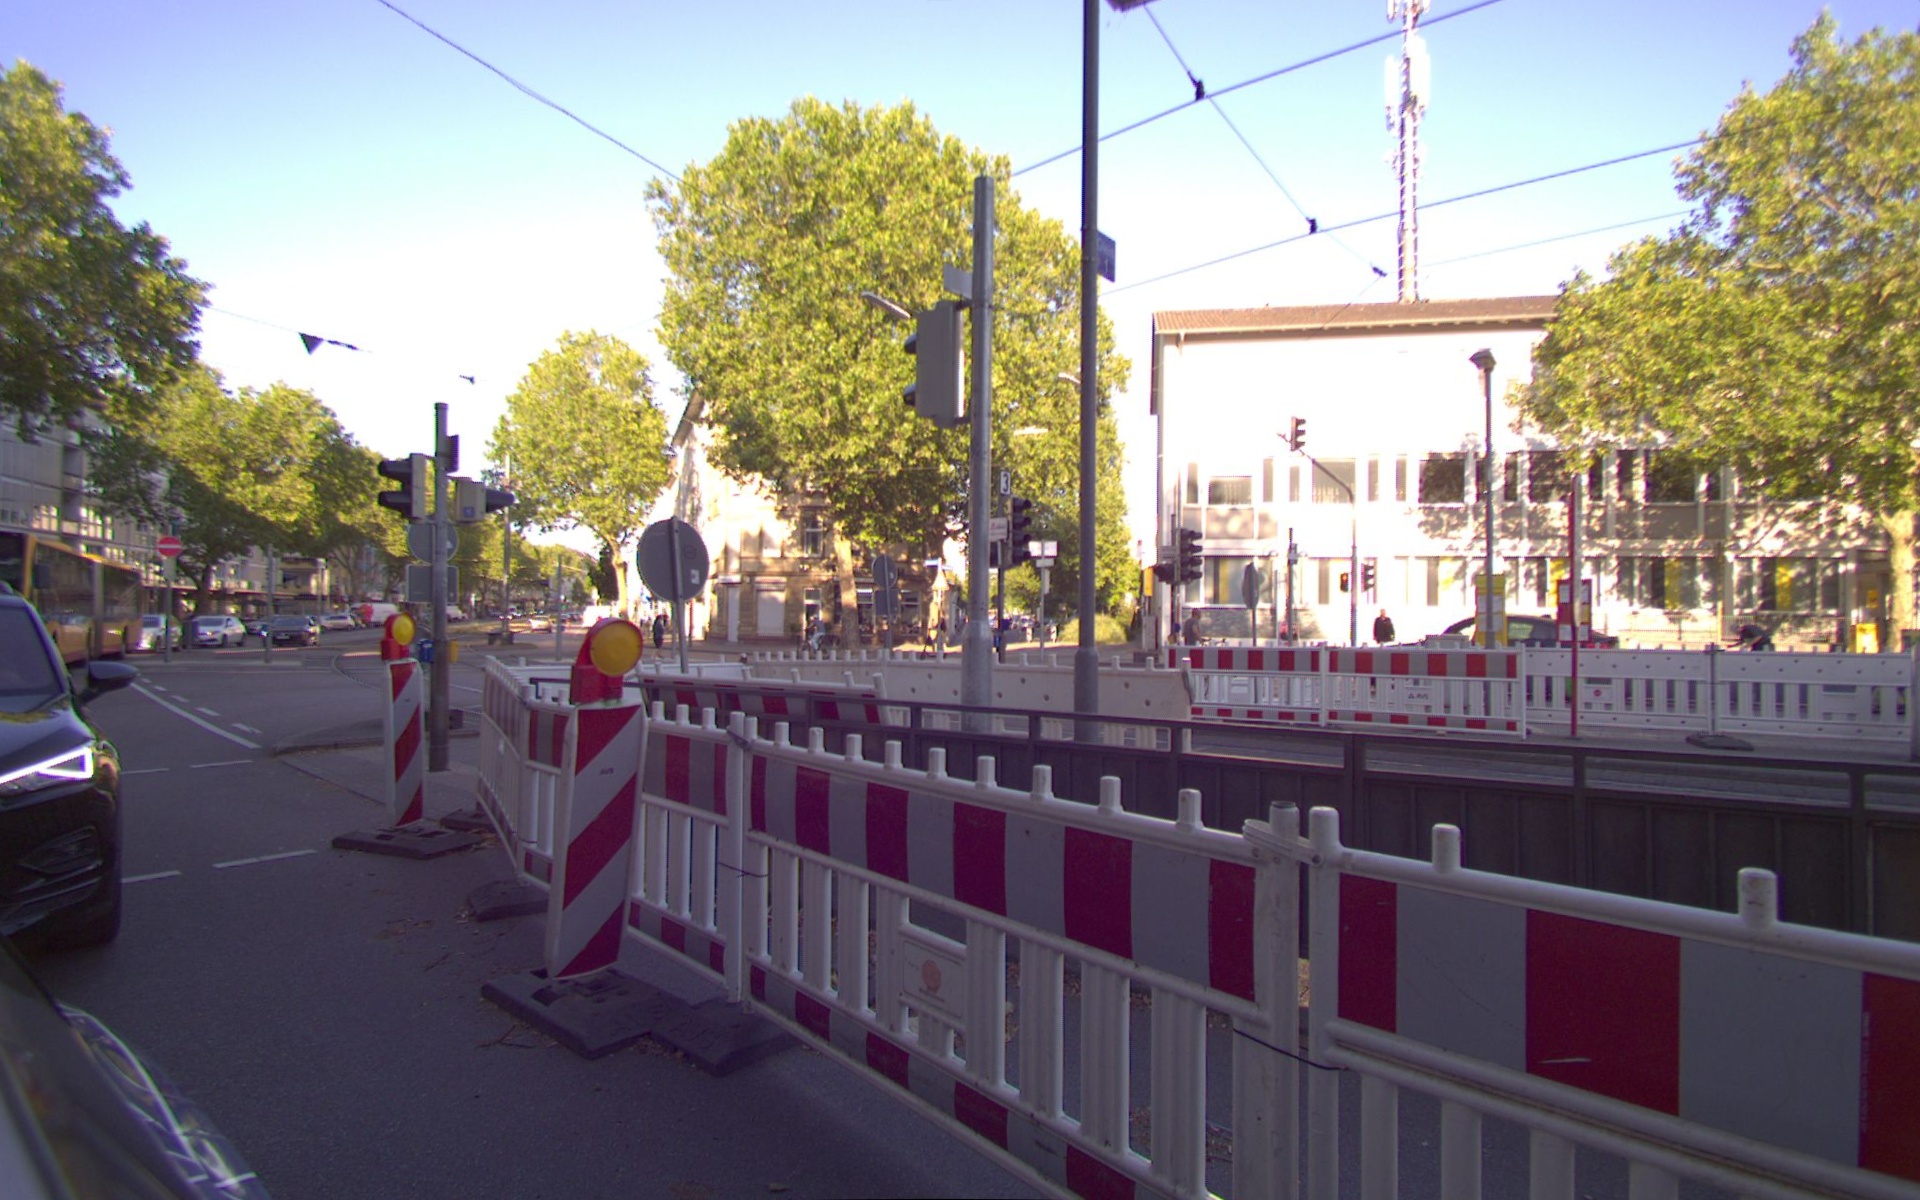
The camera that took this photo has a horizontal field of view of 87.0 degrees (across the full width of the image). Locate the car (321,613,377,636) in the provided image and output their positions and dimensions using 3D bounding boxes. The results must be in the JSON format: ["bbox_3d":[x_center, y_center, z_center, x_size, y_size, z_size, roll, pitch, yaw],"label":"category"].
[{"bbox_3d":[-54.552,2.198,90.389,3.938,2.029,2.002,1,-2,-42],"label":"car"}]

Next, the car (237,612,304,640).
[{"bbox_3d":[-50.673,1.921,74.479,3.932,2.029,2.006,1,-2,-32],"label":"car"}]

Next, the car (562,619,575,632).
[{"bbox_3d":[-57.205,3.657,147.813,1.661,1.866,4.013,1,-1,-20],"label":"car"}]

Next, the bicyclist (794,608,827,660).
[{"bbox_3d":[-5.952,1.361,40.298,0.983,2.029,0.844,-1,-2,40],"label":"bicyclist"}]

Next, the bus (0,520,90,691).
[{"bbox_3d":[-20.793,0.153,21.584,2.678,3.130,8.641,1,-2,-36],"label":"bus"}]

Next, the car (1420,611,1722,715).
[{"bbox_3d":[11.123,1.067,18.589,4.552,1.674,1.974,-1,-2,38],"label":"car"}]

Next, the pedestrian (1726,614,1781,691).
[{"bbox_3d":[19.335,1.259,24.671,0.923,1.847,0.693,-1,-2,28],"label":"pedestrian"}]

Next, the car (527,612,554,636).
[{"bbox_3d":[-35.665,2.042,86.036,1.965,2.029,4.013,1,-1,-20],"label":"car"}]

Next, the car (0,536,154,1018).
[{"bbox_3d":[-5.251,0.645,4.570,3.998,1.719,1.818,-1,-2,41],"label":"car"}]

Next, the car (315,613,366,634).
[{"bbox_3d":[-60.090,2.281,98.196,3.938,2.029,2.002,1,-2,-42],"label":"car"}]

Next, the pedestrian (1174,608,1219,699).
[{"bbox_3d":[4.658,1.046,19.972,0.545,1.760,0.693,1,-2,-24],"label":"pedestrian"}]

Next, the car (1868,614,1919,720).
[{"bbox_3d":[16.947,1.060,15.759,3.994,1.674,1.974,-1,-2,38],"label":"car"}]

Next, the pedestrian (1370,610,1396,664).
[{"bbox_3d":[12.350,1.068,29.531,0.649,1.564,0.563,-1,-2,28],"label":"pedestrian"}]

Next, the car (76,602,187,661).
[{"bbox_3d":[-30.617,1.152,37.540,1.965,2.029,4.111,1,-1,-21],"label":"car"}]

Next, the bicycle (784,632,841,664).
[{"bbox_3d":[-5.891,1.879,40.281,2.463,1.202,0.841,-1,-2,40],"label":"bicycle"}]

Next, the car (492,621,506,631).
[{"bbox_3d":[-78.835,4.376,172.961,1.809,1.715,4.143,1,-2,-19],"label":"car"}]

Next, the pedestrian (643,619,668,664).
[{"bbox_3d":[-10.419,1.408,34.607,0.594,1.545,0.746,1,-2,-38],"label":"pedestrian"}]

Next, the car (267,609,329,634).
[{"bbox_3d":[-53.855,1.740,82.352,3.938,2.029,2.002,1,-2,-42],"label":"car"}]

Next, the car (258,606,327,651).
[{"bbox_3d":[-31.440,1.340,47.772,1.965,2.029,4.013,1,-1,-22],"label":"car"}]

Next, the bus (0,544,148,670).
[{"bbox_3d":[-25.741,0.257,28.948,2.676,3.130,8.622,1,-2,-31],"label":"bus"}]

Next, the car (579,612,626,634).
[{"bbox_3d":[-34.221,2.219,96.854,1.990,2.029,3.963,0,-2,27],"label":"car"}]

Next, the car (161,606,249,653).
[{"bbox_3d":[-34.634,1.343,46.564,1.966,2.029,4.012,1,-1,-17],"label":"car"}]

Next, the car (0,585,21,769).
[{"bbox_3d":[-10.742,0.698,9.808,4.073,1.656,1.973,-1,-2,41],"label":"car"}]

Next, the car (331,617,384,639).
[{"bbox_3d":[-56.742,2.625,95.323,3.938,2.029,2.002,1,-2,-42],"label":"car"}]
